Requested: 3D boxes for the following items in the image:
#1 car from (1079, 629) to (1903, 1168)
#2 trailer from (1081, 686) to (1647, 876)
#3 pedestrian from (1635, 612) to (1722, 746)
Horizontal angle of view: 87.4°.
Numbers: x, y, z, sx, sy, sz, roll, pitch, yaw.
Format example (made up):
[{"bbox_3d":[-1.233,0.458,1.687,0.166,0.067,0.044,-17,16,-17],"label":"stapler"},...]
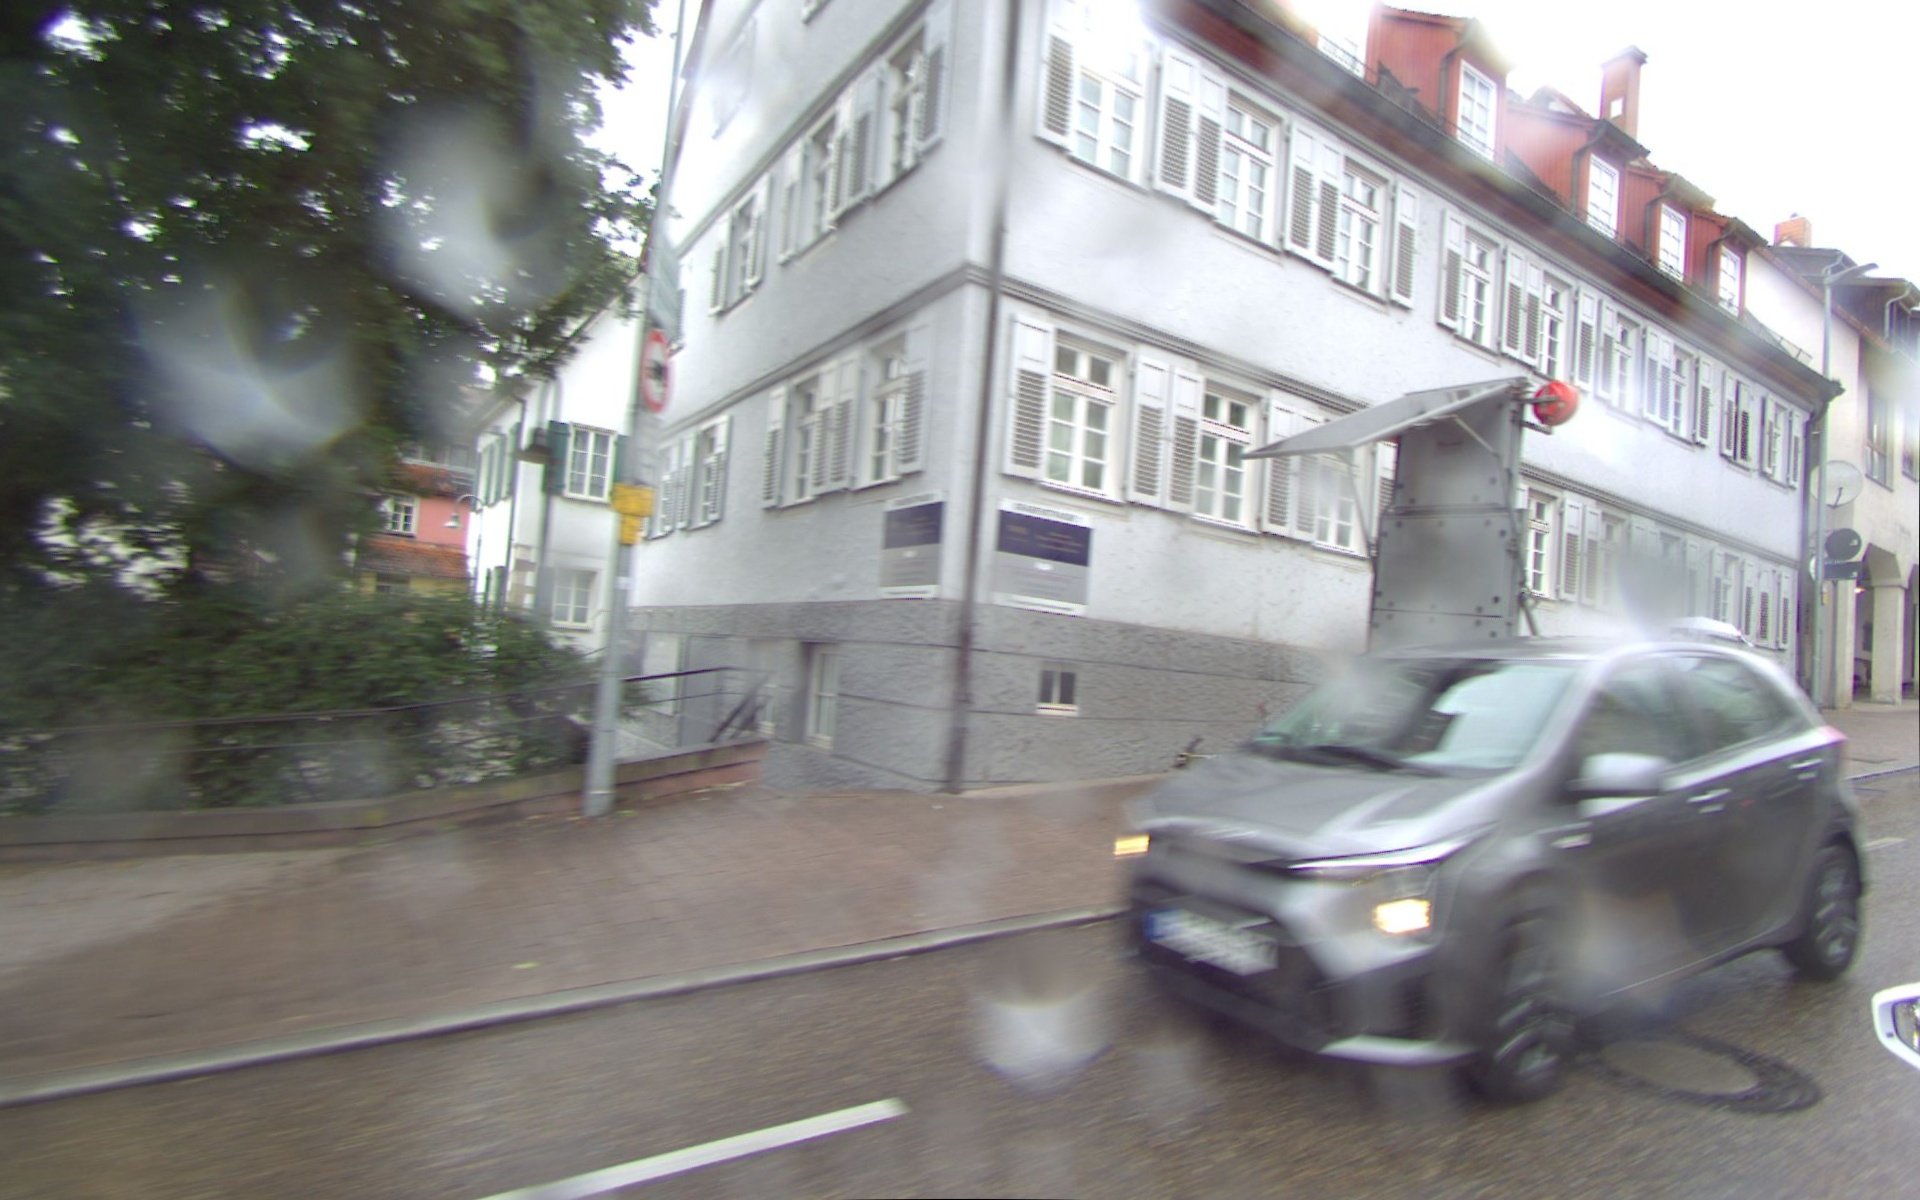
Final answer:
[{"bbox_3d":[2.415,0.891,4.417,3.544,1.491,1.601,1,-3,-31],"label":"car"},{"bbox_3d":[3.340,1.269,8.104,4.426,0.917,1.983,2,0,-31],"label":"trailer"},{"bbox_3d":[9.920,1.065,13.880,0.726,1.763,0.685,2,1,-30],"label":"pedestrian"}]
